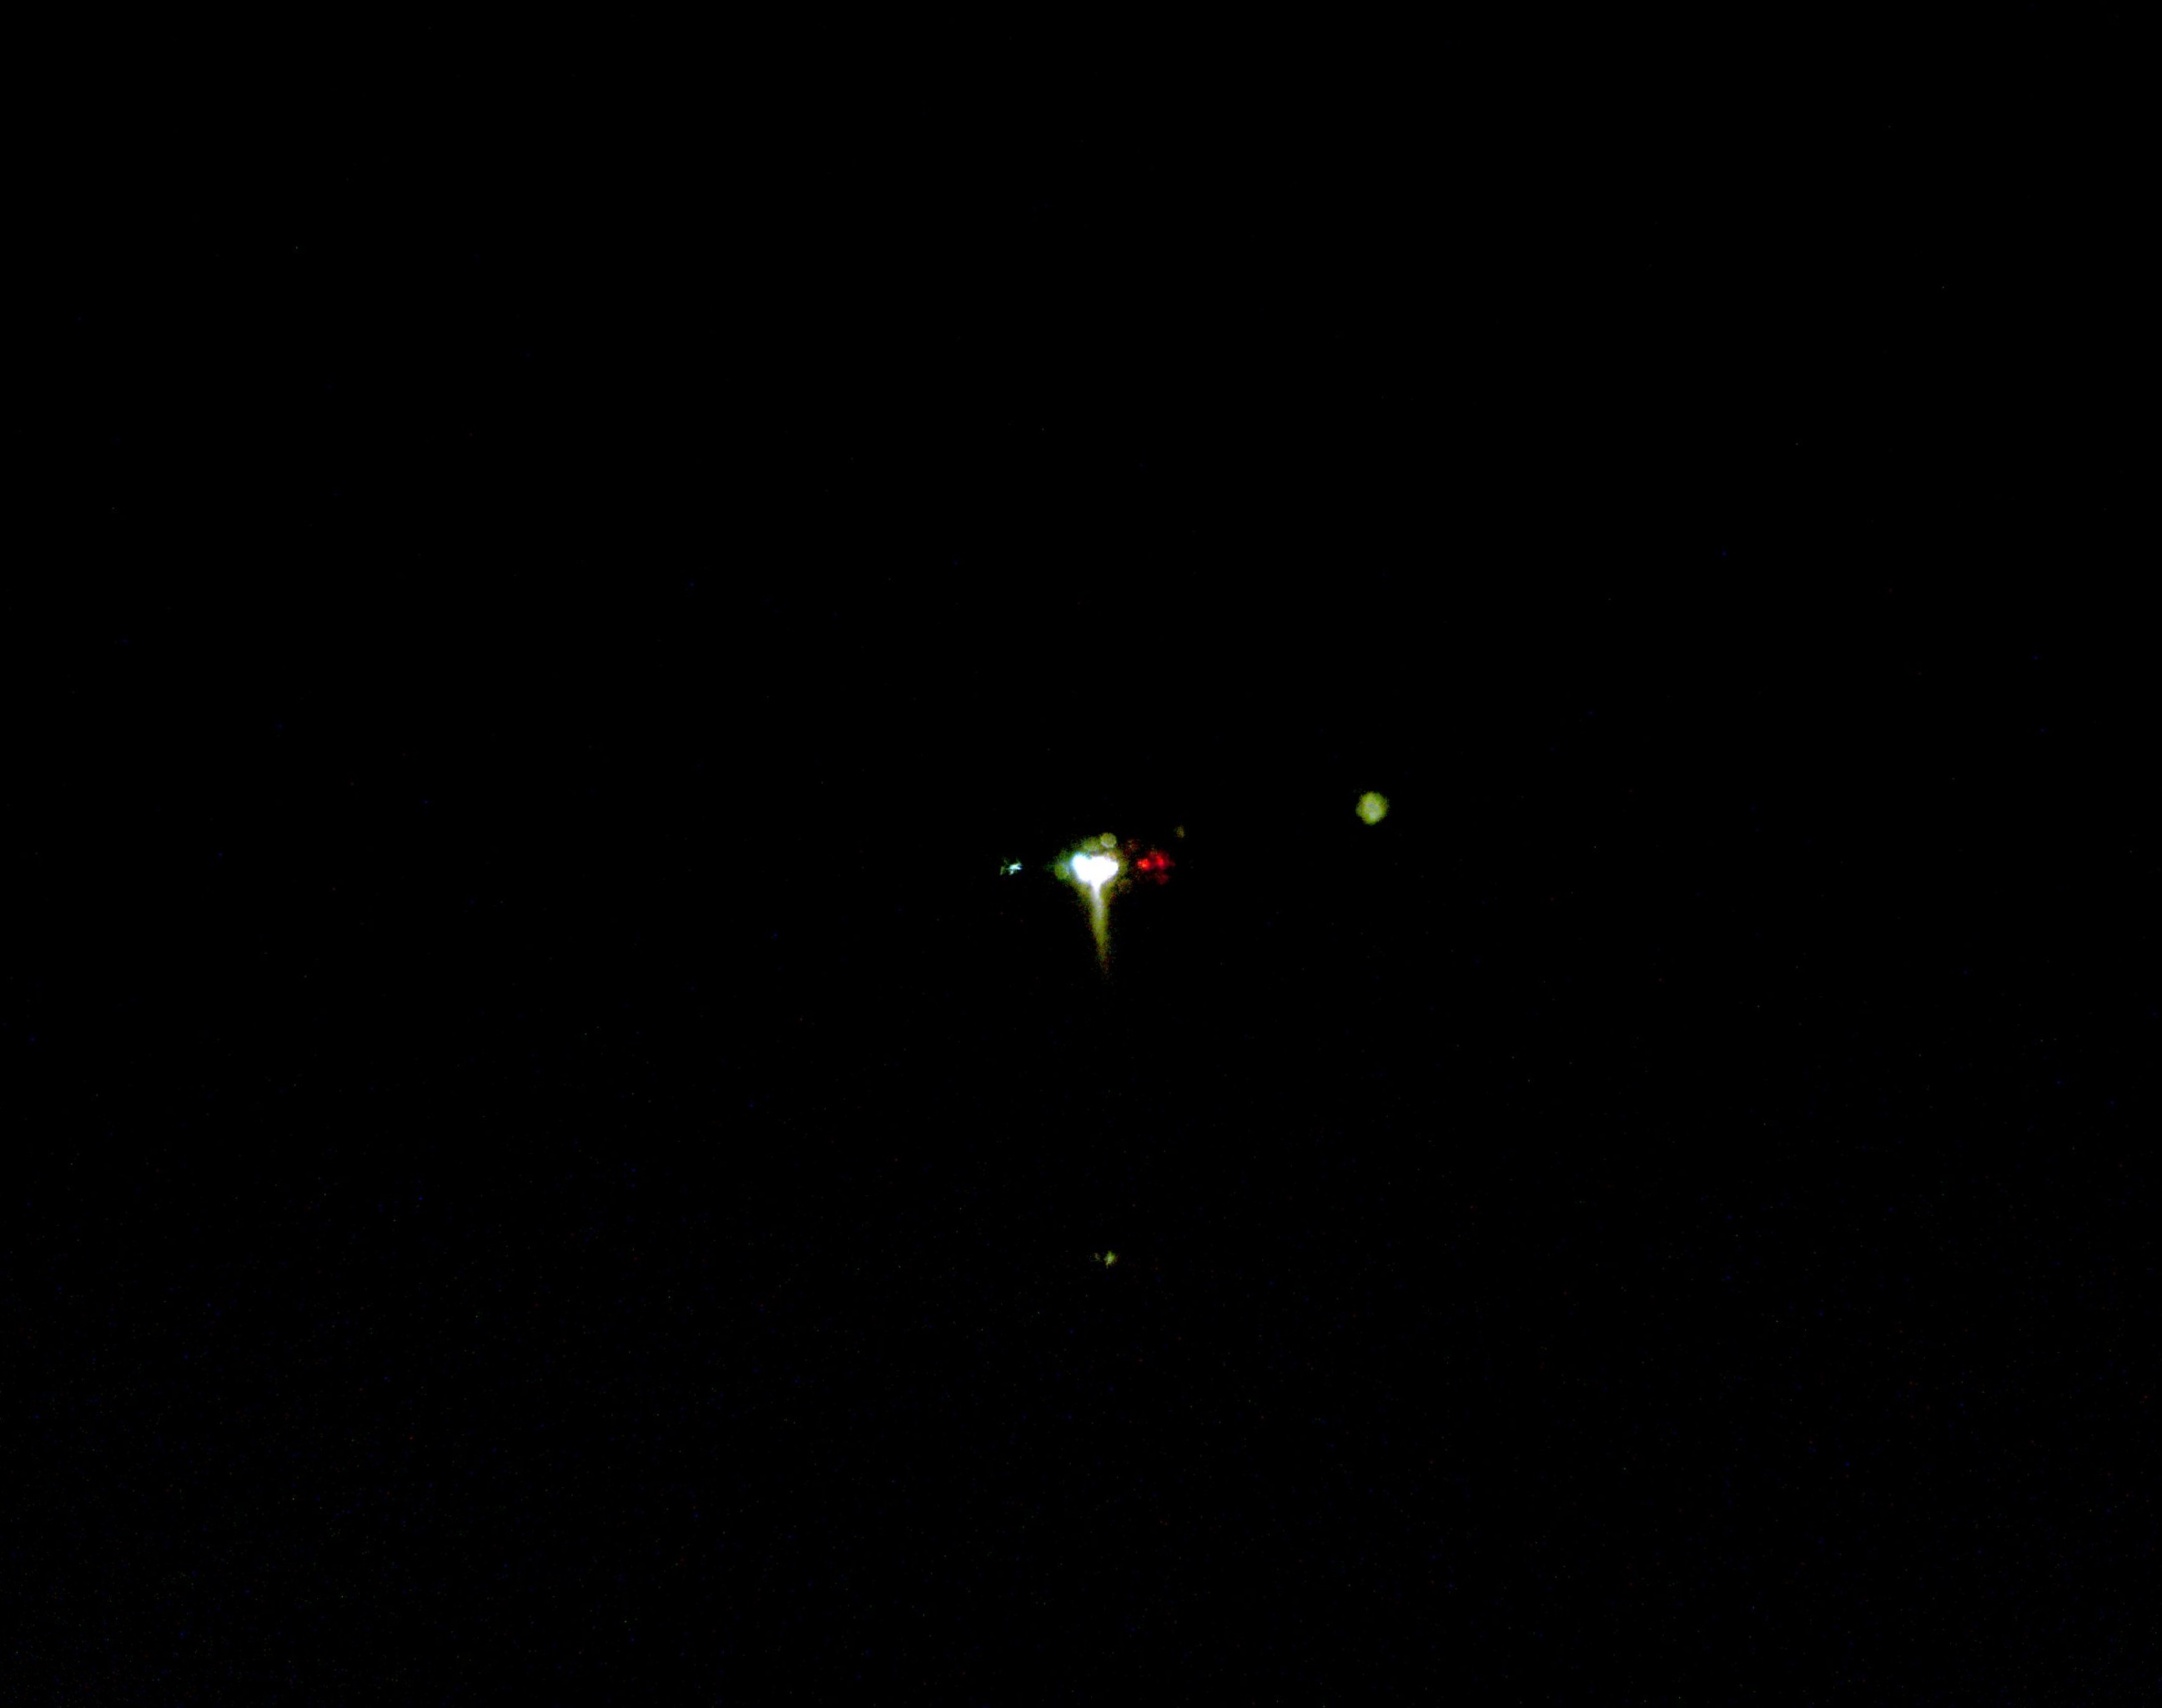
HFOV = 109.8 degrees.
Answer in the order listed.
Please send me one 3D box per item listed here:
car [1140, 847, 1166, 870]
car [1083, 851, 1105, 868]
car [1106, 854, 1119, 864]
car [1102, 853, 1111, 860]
[{"bbox_3d":[5.452,0.331,57.216,1.812,1.612,4.001,-2,0,6],"label":"car"},{"bbox_3d":[1.249,0.547,75.326,1.998,1.576,4.000,-3,0,0],"label":"car"},{"bbox_3d":[5.612,0.873,134.800,1.998,1.490,3.775,-2,0,4],"label":"car"},{"bbox_3d":[5.638,0.617,168.888,1.998,1.410,4.665,-2,0,0],"label":"car"}]
